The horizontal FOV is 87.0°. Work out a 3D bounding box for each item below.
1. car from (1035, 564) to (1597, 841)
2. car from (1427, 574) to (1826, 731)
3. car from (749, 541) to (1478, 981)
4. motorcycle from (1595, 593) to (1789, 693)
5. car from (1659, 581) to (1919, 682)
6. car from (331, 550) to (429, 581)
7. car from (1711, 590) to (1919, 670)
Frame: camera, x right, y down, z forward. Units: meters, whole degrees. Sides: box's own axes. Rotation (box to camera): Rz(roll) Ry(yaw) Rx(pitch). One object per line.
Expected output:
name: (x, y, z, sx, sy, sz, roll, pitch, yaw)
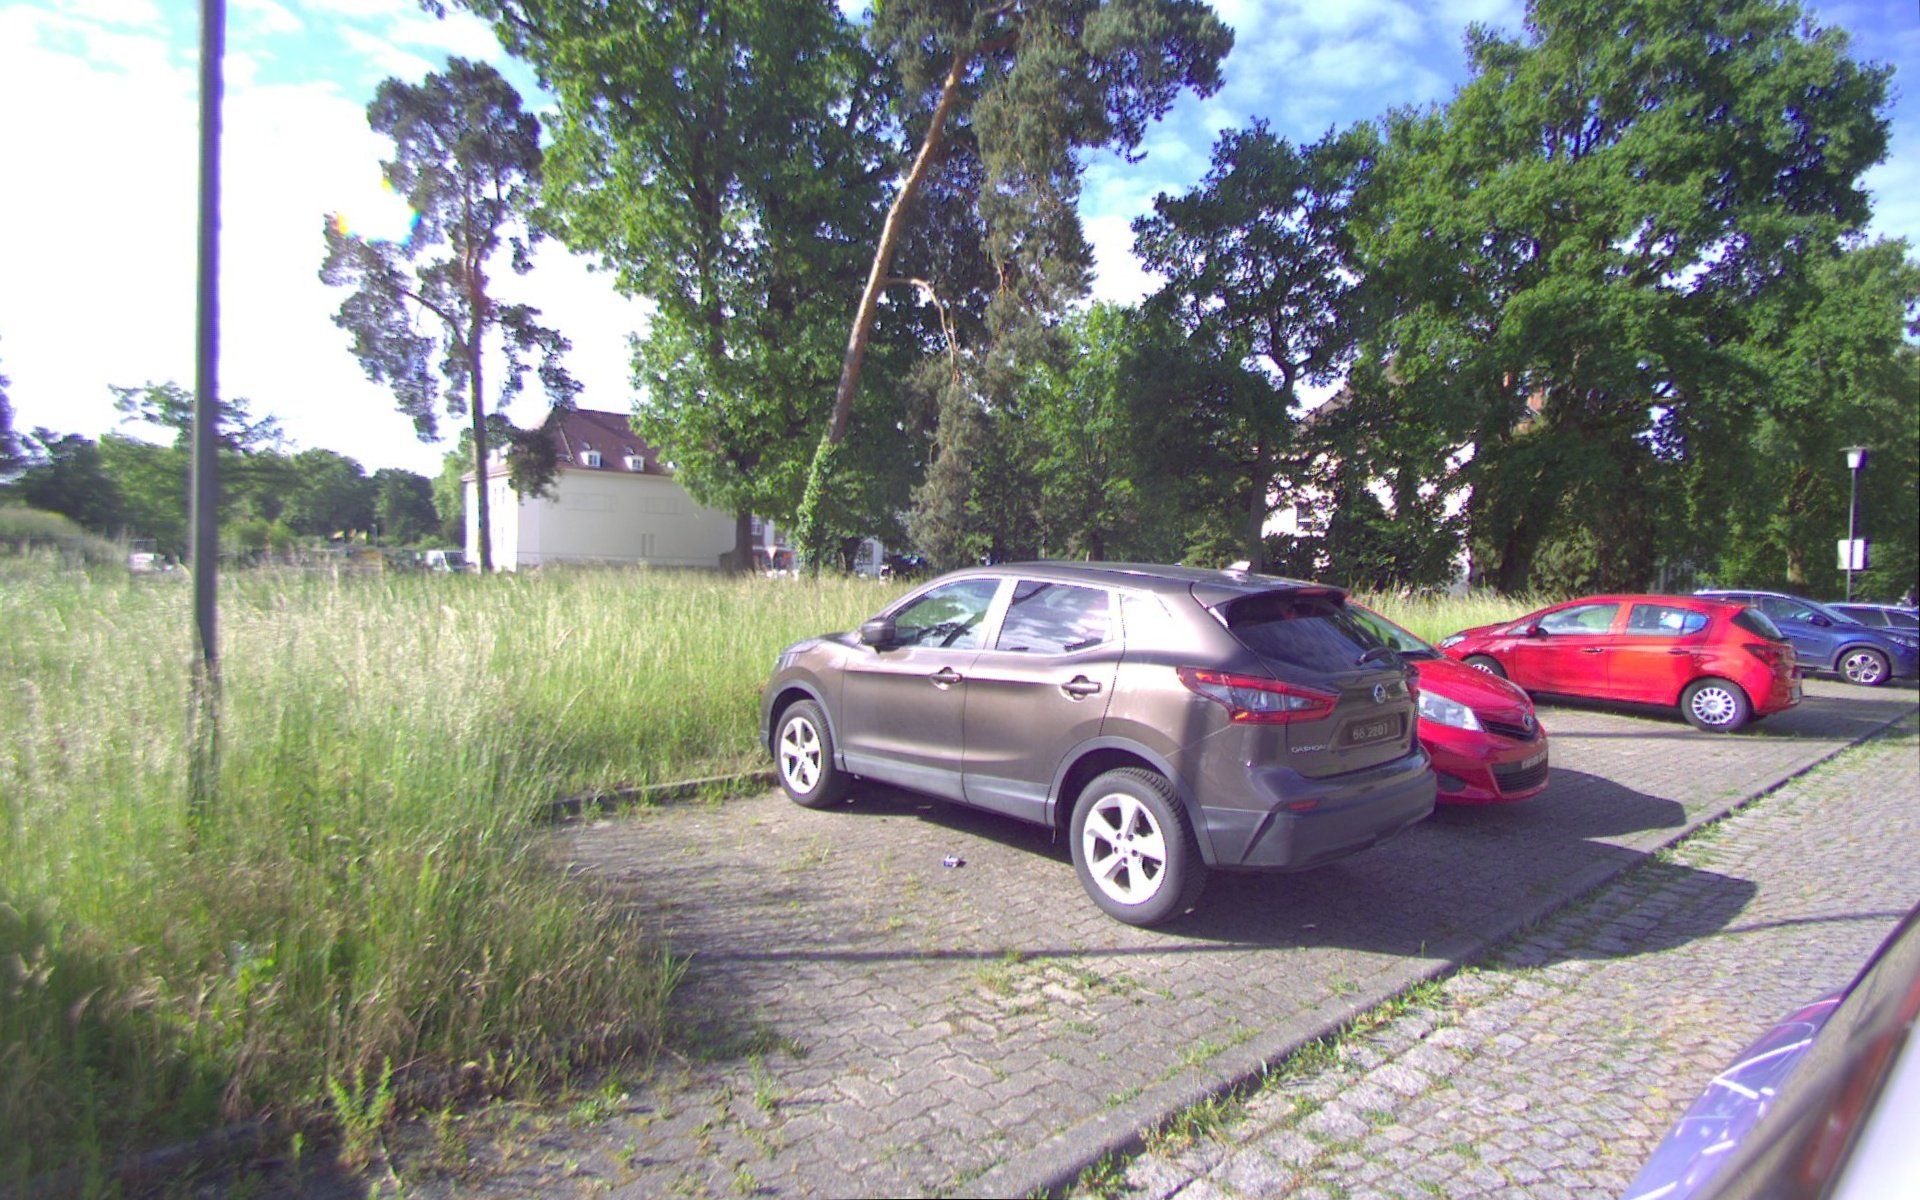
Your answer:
car: (2.485, 0.543, 7.798, 1.616, 1.549, 3.771, 1, 2, -40)
car: (8.156, 0.519, 12.665, 1.617, 1.496, 3.835, 0, 3, -41)
car: (0.559, 0.525, 5.837, 1.741, 1.641, 3.943, 0, 2, -42)
motorcycle: (11.356, 0.626, 15.781, 0.713, 1.336, 2.305, 1, 3, -41)
car: (15.937, 0.519, 19.117, 1.721, 1.610, 4.185, 0, 2, -41)
car: (-42.145, -2.485, 73.717, 5.889, 2.198, 2.381, 0, 2, -22)
car: (19.441, 0.632, 22.164, 1.682, 1.425, 4.464, 1, 3, -37)
